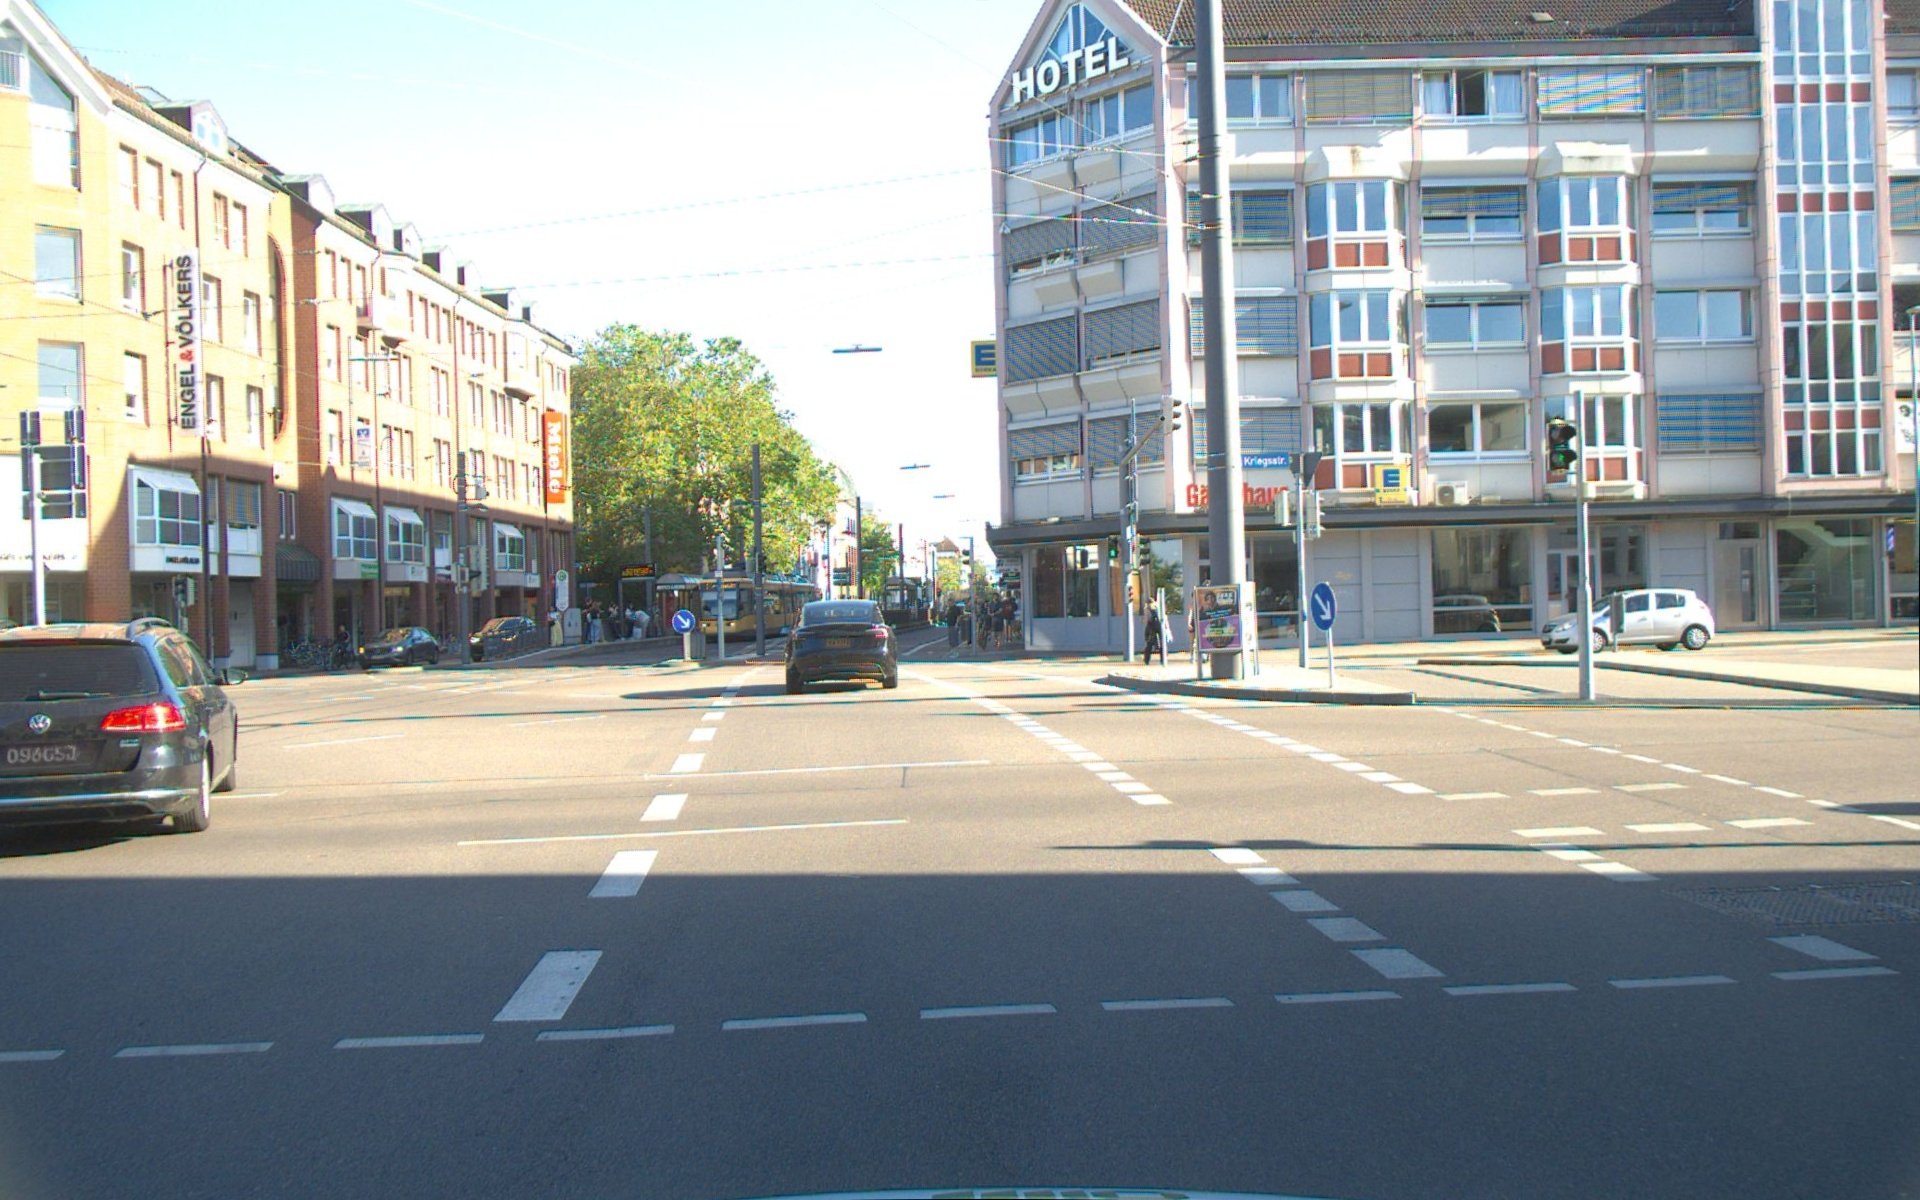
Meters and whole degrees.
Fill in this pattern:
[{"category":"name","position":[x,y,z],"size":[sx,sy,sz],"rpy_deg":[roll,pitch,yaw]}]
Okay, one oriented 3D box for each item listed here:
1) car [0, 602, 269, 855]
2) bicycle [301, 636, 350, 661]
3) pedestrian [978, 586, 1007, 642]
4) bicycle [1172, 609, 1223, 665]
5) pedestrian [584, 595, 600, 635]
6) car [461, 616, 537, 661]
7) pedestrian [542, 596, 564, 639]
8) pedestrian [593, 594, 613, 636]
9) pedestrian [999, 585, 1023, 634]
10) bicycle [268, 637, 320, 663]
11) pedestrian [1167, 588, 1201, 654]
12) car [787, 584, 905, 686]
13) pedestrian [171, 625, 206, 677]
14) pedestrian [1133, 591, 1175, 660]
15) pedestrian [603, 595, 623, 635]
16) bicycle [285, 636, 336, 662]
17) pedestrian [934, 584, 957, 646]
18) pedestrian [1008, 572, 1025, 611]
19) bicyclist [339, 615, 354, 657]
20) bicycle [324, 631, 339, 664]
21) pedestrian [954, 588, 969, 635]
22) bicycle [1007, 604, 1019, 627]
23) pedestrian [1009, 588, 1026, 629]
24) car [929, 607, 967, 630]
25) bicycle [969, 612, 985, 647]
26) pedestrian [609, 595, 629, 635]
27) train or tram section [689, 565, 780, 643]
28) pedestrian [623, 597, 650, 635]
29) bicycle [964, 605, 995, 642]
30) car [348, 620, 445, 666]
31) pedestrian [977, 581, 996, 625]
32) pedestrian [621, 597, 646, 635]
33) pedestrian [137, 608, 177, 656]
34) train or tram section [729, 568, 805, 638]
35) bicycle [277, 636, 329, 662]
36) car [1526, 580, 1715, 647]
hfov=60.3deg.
[{"category":"car","position":[-6.246,0.780,12.100],"size":[1.737,1.469,4.506],"rpy_deg":[-1,0,-17]},{"category":"bicycle","position":[-24.344,1.849,63.450],"size":[1.675,0.916,0.521],"rpy_deg":[-1,0,0]},{"category":"pedestrian","position":[1.059,0.463,53.993],"size":[0.895,1.785,0.840],"rpy_deg":[-1,0,3]},{"category":"bicycle","position":[5.755,0.882,40.178],"size":[0.534,1.307,1.900],"rpy_deg":[-1,0,-14]},{"category":"pedestrian","position":[-14.481,0.605,65.098],"size":[0.573,1.557,0.635],"rpy_deg":[-1,0,-13]},{"category":"car","position":[-17.792,1.464,63.990],"size":[1.780,1.571,3.792],"rpy_deg":[-3,0,0]},{"category":"pedestrian","position":[-15.516,0.663,63.033],"size":[0.622,1.591,0.586],"rpy_deg":[-1,0,5]},{"category":"pedestrian","position":[-15.065,0.645,69.787],"size":[0.628,1.751,0.580],"rpy_deg":[-1,-1,-29]},{"category":"pedestrian","position":[1.811,0.339,58.779],"size":[0.674,1.718,0.669],"rpy_deg":[-1,0,-12]},{"category":"bicycle","position":[-24.382,1.819,60.587],"size":[1.675,0.916,0.521],"rpy_deg":[-1,0,0]},{"category":"pedestrian","position":[5.424,0.504,40.040],"size":[0.517,1.582,0.864],"rpy_deg":[-1,0,-14]},{"category":"car","position":[-1.895,0.571,27.604],"size":[1.755,1.476,3.936],"rpy_deg":[-3,-1,-4]},{"category":"pedestrian","position":[-24.537,1.607,52.589],"size":[0.697,1.622,0.777],"rpy_deg":[1,0,2]},{"category":"pedestrian","position":[4.620,0.595,39.382],"size":[0.765,1.604,0.865],"rpy_deg":[-1,1,-10]},{"category":"pedestrian","position":[-15.120,0.648,72.104],"size":[0.622,1.751,0.586],"rpy_deg":[-1,0,11]},{"category":"bicycle","position":[-24.328,1.830,61.969],"size":[1.675,0.916,0.521],"rpy_deg":[-1,0,0]},{"category":"pedestrian","position":[-0.432,0.438,49.263],"size":[0.614,1.813,0.917],"rpy_deg":[-1,0,-2]},{"category":"pedestrian","position":[2.530,-0.370,73.805],"size":[0.732,1.707,0.699],"rpy_deg":[-1,0,3]},{"category":"bicyclist","position":[-22.506,1.321,60.701],"size":[0.475,1.496,0.714],"rpy_deg":[-1,0,-22]},{"category":"bicycle","position":[-22.949,1.729,60.379],"size":[0.483,1.178,1.705],"rpy_deg":[-1,0,-21]},{"category":"pedestrian","position":[0.055,0.378,56.315],"size":[0.462,1.590,0.544],"rpy_deg":[-1,0,-3]},{"category":"bicycle","position":[2.041,0.595,63.440],"size":[0.406,0.872,1.238],"rpy_deg":[-1,0,4]},{"category":"pedestrian","position":[2.449,0.375,70.168],"size":[0.682,1.707,0.750],"rpy_deg":[-1,0,3]},{"category":"car","position":[-0.936,1.439,130.708],"size":[1.702,1.694,3.708],"rpy_deg":[-1,0,23]},{"category":"bicycle","position":[0.571,0.986,55.868],"size":[0.478,1.121,2.124],"rpy_deg":[-1,0,-1]},{"category":"pedestrian","position":[-14.991,0.645,72.706],"size":[0.622,1.751,0.609],"rpy_deg":[-1,0,11]},{"category":"train or tram section","position":[-11.081,0.189,82.293],"size":[2.672,3.604,10.089],"rpy_deg":[-1,0,2]},{"category":"pedestrian","position":[-14.660,0.721,75.000],"size":[1.084,1.653,0.847],"rpy_deg":[-1,0,-6]},{"category":"bicycle","position":[0.625,0.763,53.638],"size":[0.480,1.181,1.965],"rpy_deg":[-1,0,-15]},{"category":"car","position":[-20.501,1.535,60.359],"size":[1.779,1.479,3.980],"rpy_deg":[-3,0,6]},{"category":"pedestrian","position":[1.048,0.117,64.979],"size":[0.682,1.707,0.750],"rpy_deg":[-1,0,3]},{"category":"pedestrian","position":[-14.631,0.706,74.095],"size":[0.980,1.653,0.847],"rpy_deg":[-1,0,-6]},{"category":"pedestrian","position":[-27.041,1.081,55.699],"size":[0.867,1.595,0.863],"rpy_deg":[-1,0,26]},{"category":"train or tram section","position":[-10.664,0.178,92.430],"size":[2.657,3.608,10.171],"rpy_deg":[-1,0,2]},{"category":"bicycle","position":[-24.362,1.824,61.343],"size":[1.675,0.916,0.521],"rpy_deg":[-1,0,0]},{"category":"car","position":[15.814,0.343,39.724],"size":[3.762,1.457,1.803],"rpy_deg":[-2,-2,-1]}]
